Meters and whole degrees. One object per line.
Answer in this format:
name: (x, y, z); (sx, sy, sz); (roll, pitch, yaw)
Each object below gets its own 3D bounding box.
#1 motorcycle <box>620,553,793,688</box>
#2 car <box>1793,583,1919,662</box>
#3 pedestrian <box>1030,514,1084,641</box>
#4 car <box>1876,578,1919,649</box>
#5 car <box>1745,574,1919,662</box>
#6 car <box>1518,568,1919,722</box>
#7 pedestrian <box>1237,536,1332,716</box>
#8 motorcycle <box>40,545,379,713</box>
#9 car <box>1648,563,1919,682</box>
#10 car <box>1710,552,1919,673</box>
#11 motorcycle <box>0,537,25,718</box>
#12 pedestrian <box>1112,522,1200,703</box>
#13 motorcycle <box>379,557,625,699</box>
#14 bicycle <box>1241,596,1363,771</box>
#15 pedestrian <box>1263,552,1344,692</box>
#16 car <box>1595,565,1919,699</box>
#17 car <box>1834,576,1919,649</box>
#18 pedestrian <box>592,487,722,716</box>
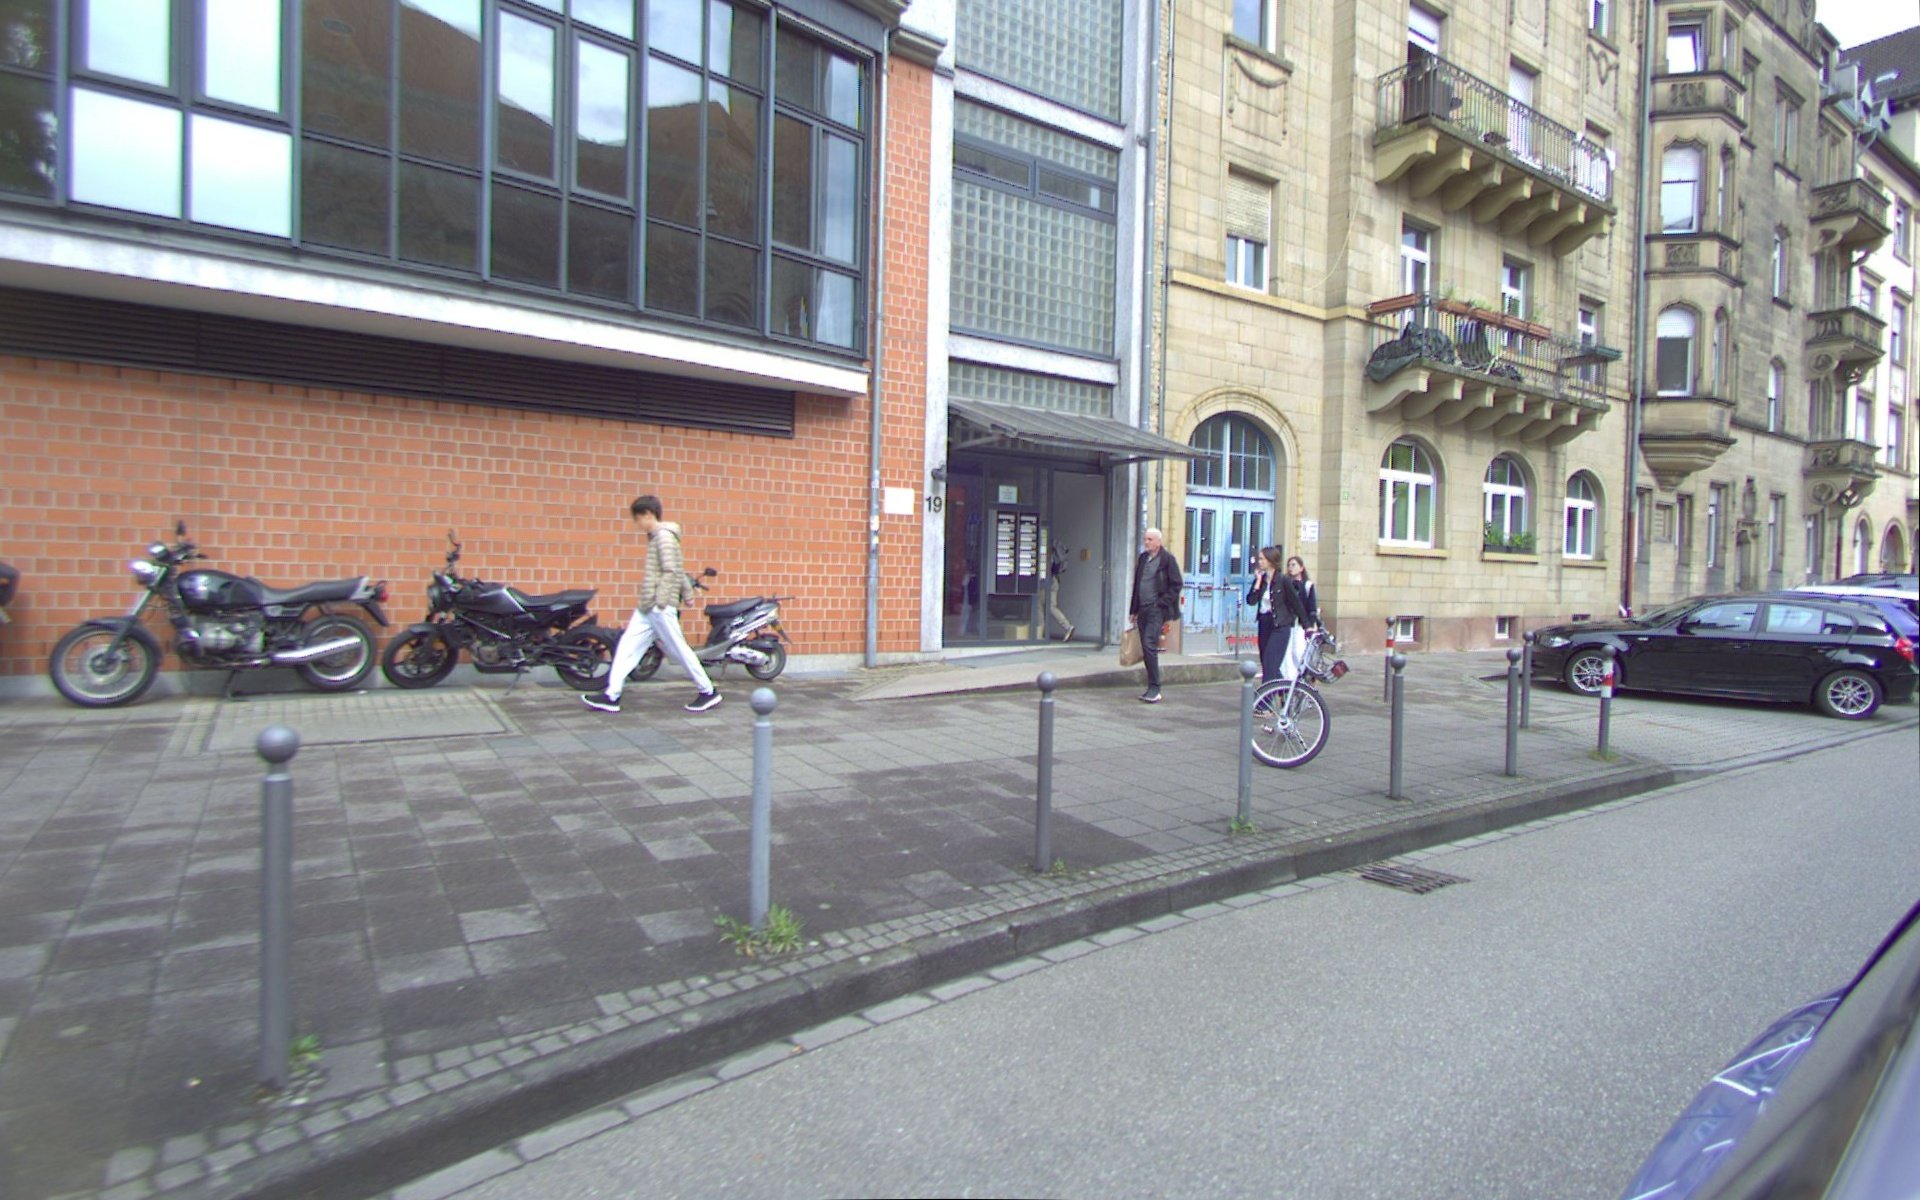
motorcycle: (-2.449, 0.192, 9.892); (1.534, 1.208, 0.604); (3, 2, -11)
car: (21.269, 0.528, 21.992); (4.406, 1.571, 1.842); (3, 2, 18)
pedestrian: (1.384, -0.320, 14.455); (0.558, 1.765, 0.541); (-1, 1, -35)
car: (26.384, 0.456, 25.269); (4.695, 1.705, 1.925); (4, 4, 20)
car: (18.707, 0.406, 20.350); (4.018, 1.470, 2.021); (5, 4, 18)
car: (9.828, 0.493, 13.193); (4.216, 1.496, 1.671); (5, 3, 24)
pedestrian: (3.173, 0.230, 9.896); (0.703, 1.682, 0.520); (-1, 4, -37)
motorcycle: (-5.684, 0.186, 7.817); (2.030, 1.157, 0.603); (0, 2, -34)
car: (14.027, 0.344, 16.693); (3.946, 1.620, 1.757); (5, 3, 17)
car: (16.548, 0.247, 18.329); (4.223, 1.929, 1.871); (5, 3, 15)
motorcycle: (-7.516, 0.172, 6.432); (2.167, 1.217, 1.032); (1, 2, -35)
pedestrian: (2.007, 0.103, 10.415); (0.531, 1.792, 0.645); (-1, 4, -35)
motorcycle: (-3.928, 0.236, 8.796); (1.843, 1.158, 0.604); (1, 2, -9)
bicycle: (2.617, 0.572, 7.922); (0.719, 1.117, 1.729); (3, 3, 14)
pedestrian: (3.923, 0.225, 11.558); (0.703, 1.528, 0.520); (-1, 4, -37)
car: (11.963, 0.404, 15.063); (3.964, 1.552, 1.914); (6, 3, 27)
car: (23.624, 0.405, 23.616); (4.407, 1.593, 1.738); (5, 3, 18)
pedestrian: (-2.487, -0.008, 8.299); (0.796, 1.774, 0.632); (1, 4, -37)
